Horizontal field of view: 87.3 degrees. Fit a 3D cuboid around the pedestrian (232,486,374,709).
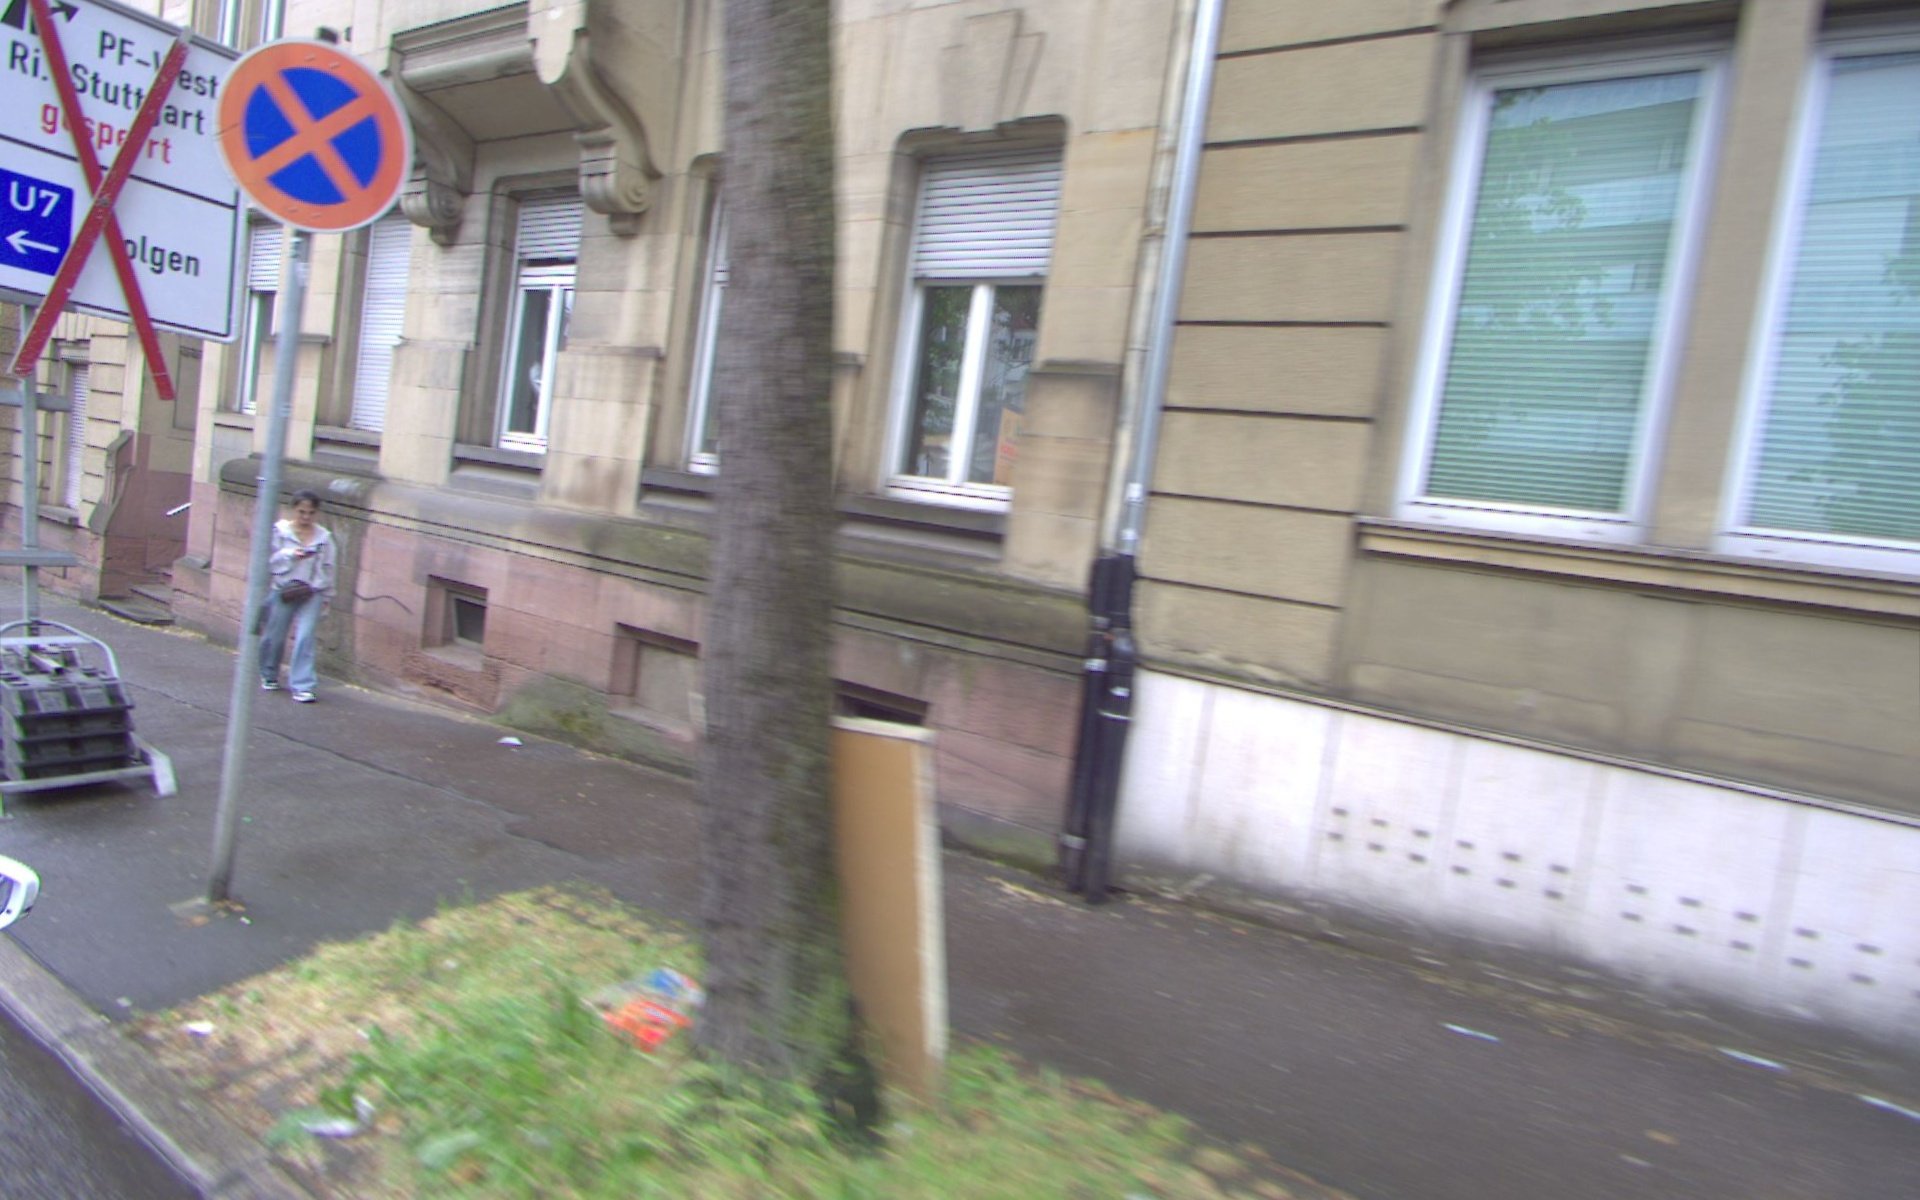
[{"bbox_3d":[-4.857,-0.036,7.436,0.682,1.530,0.630,7,6,32],"label":"pedestrian"}]
